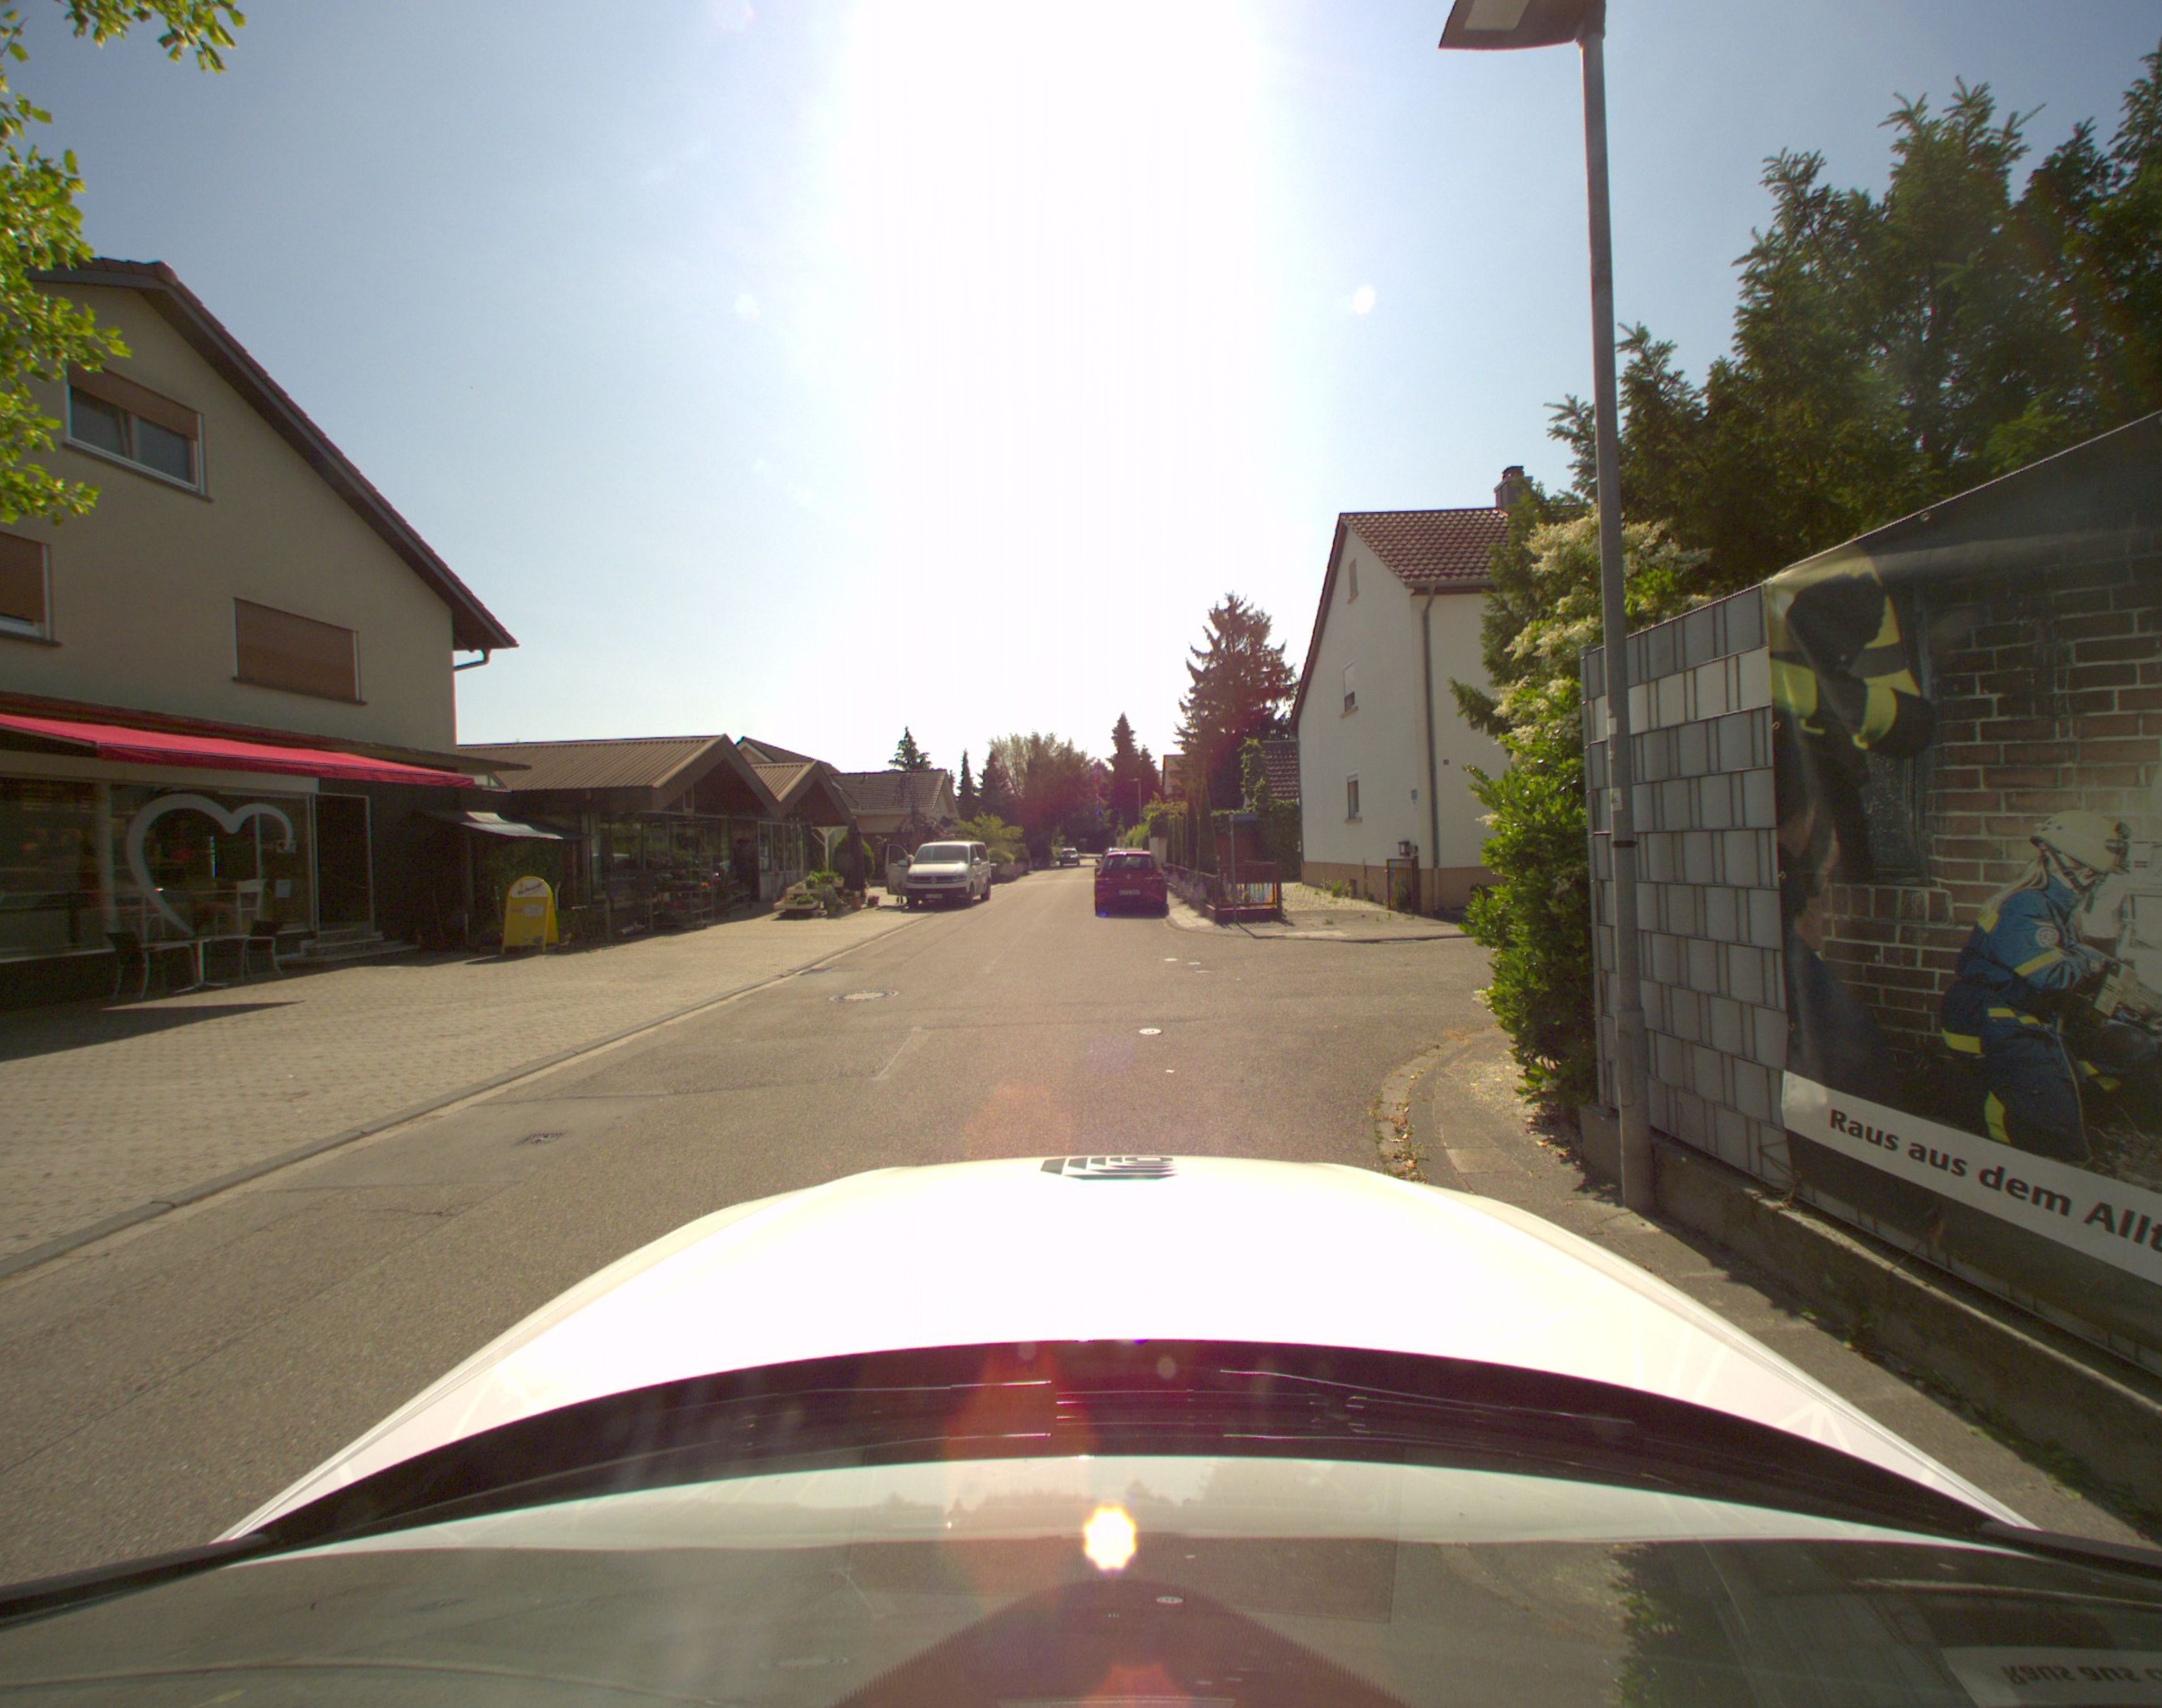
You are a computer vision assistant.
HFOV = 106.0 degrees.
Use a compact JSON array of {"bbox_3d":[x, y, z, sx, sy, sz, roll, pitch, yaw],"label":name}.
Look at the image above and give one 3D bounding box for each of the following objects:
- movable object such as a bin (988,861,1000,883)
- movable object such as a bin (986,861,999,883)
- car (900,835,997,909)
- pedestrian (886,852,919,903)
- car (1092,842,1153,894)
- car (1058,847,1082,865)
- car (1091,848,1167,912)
[{"bbox_3d":[-4.172,0.843,39.123,0.492,1.024,0.447,-2,0,1],"label":"movable object such as a bin"},{"bbox_3d":[-4.190,0.855,38.648,0.492,1.024,0.447,-2,0,1],"label":"movable object such as a bin"},{"bbox_3d":[-3.999,0.489,25.486,1.921,2.013,4.900,-2,0,3],"label":"car"},{"bbox_3d":[-5.561,0.734,25.309,0.710,1.538,0.646,-1,1,34],"label":"pedestrian"},{"bbox_3d":[1.344,0.438,27.882,1.817,1.615,3.998,-1,0,-1],"label":"car"},{"bbox_3d":[-0.931,0.133,70.802,1.746,1.487,4.378,-2,0,2],"label":"car"},{"bbox_3d":[1.299,0.593,21.049,1.767,1.479,4.006,0,0,5],"label":"car"}]
